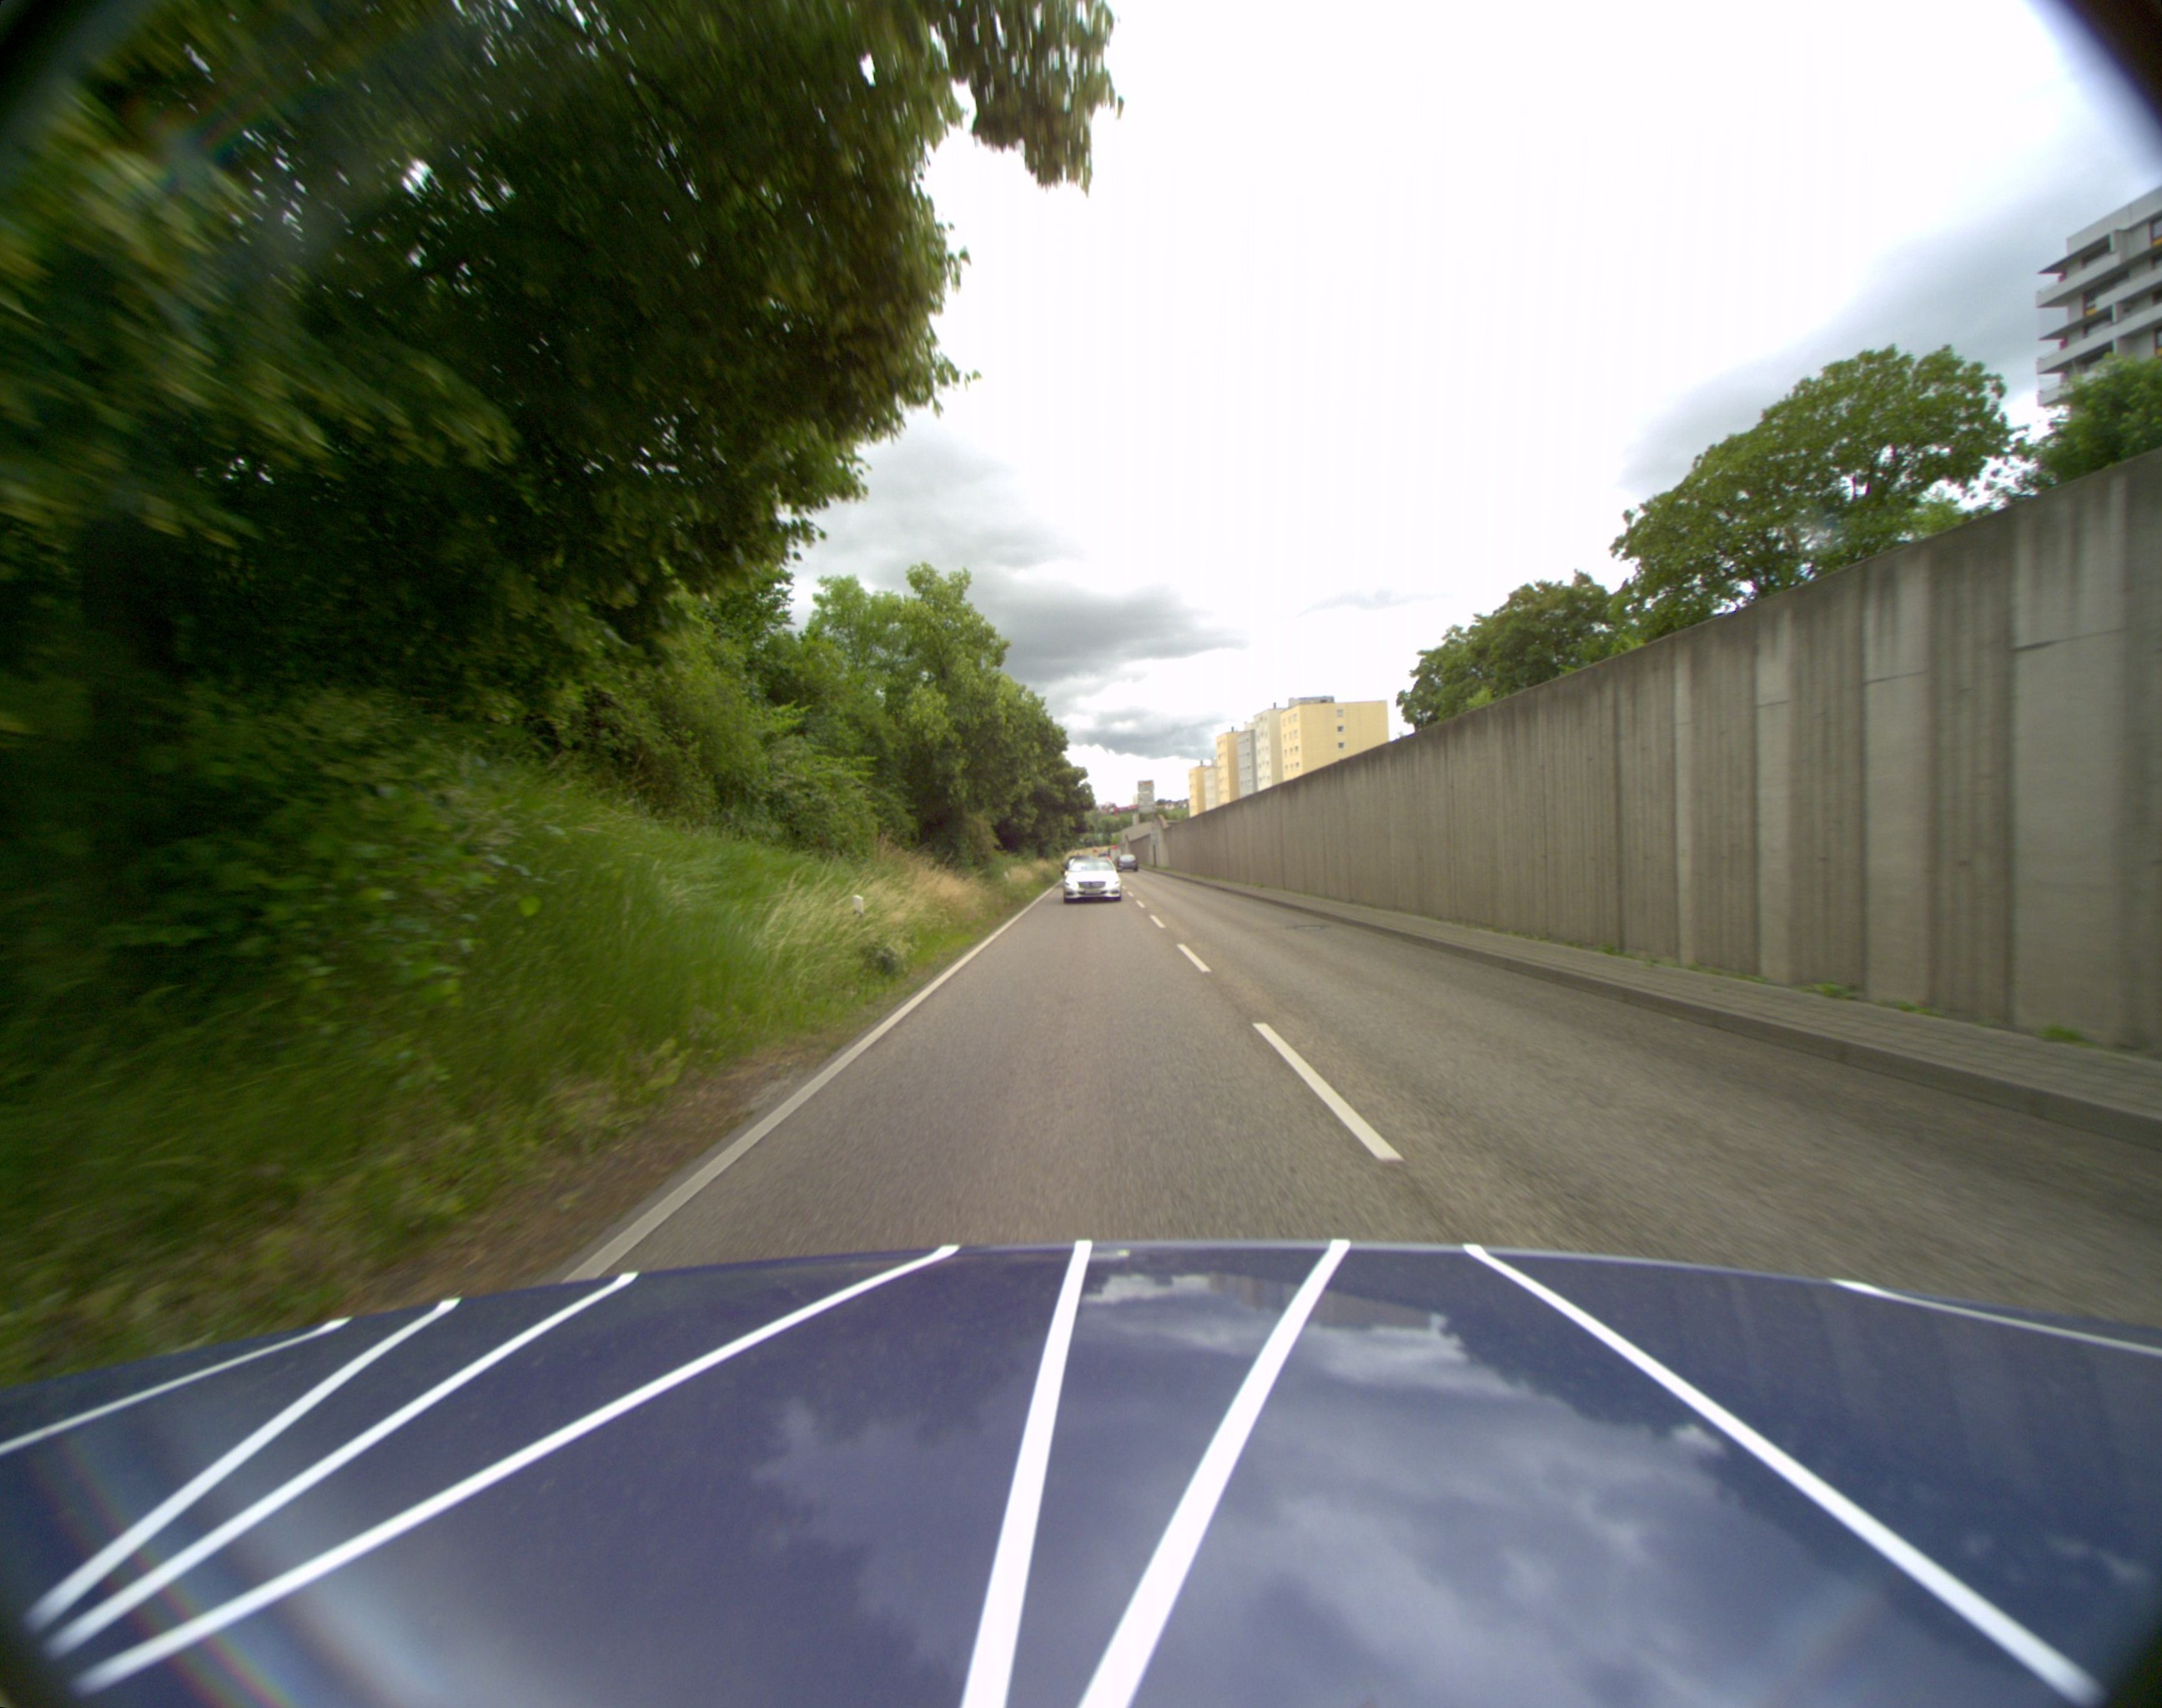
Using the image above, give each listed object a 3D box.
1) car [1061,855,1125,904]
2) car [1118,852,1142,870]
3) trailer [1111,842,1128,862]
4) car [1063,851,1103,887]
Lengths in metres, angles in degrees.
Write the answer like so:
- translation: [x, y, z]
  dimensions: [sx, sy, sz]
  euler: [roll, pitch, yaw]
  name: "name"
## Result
- translation: [0.327, 0.797, 25.958]
  dimensions: [1.905, 1.471, 4.093]
  euler: [-2, 0, -2]
  name: "car"
- translation: [4.272, 0.592, 66.708]
  dimensions: [1.897, 1.475, 4.823]
  euler: [-2, 0, 1]
  name: "car"
- translation: [5.279, -0.231, 104.781]
  dimensions: [2.115, 2.615, 4.372]
  euler: [-2, 0, 1]
  name: "trailer"
- translation: [0.050, 0.712, 38.305]
  dimensions: [1.759, 1.532, 3.998]
  euler: [-5, 1, -2]
  name: "car"
